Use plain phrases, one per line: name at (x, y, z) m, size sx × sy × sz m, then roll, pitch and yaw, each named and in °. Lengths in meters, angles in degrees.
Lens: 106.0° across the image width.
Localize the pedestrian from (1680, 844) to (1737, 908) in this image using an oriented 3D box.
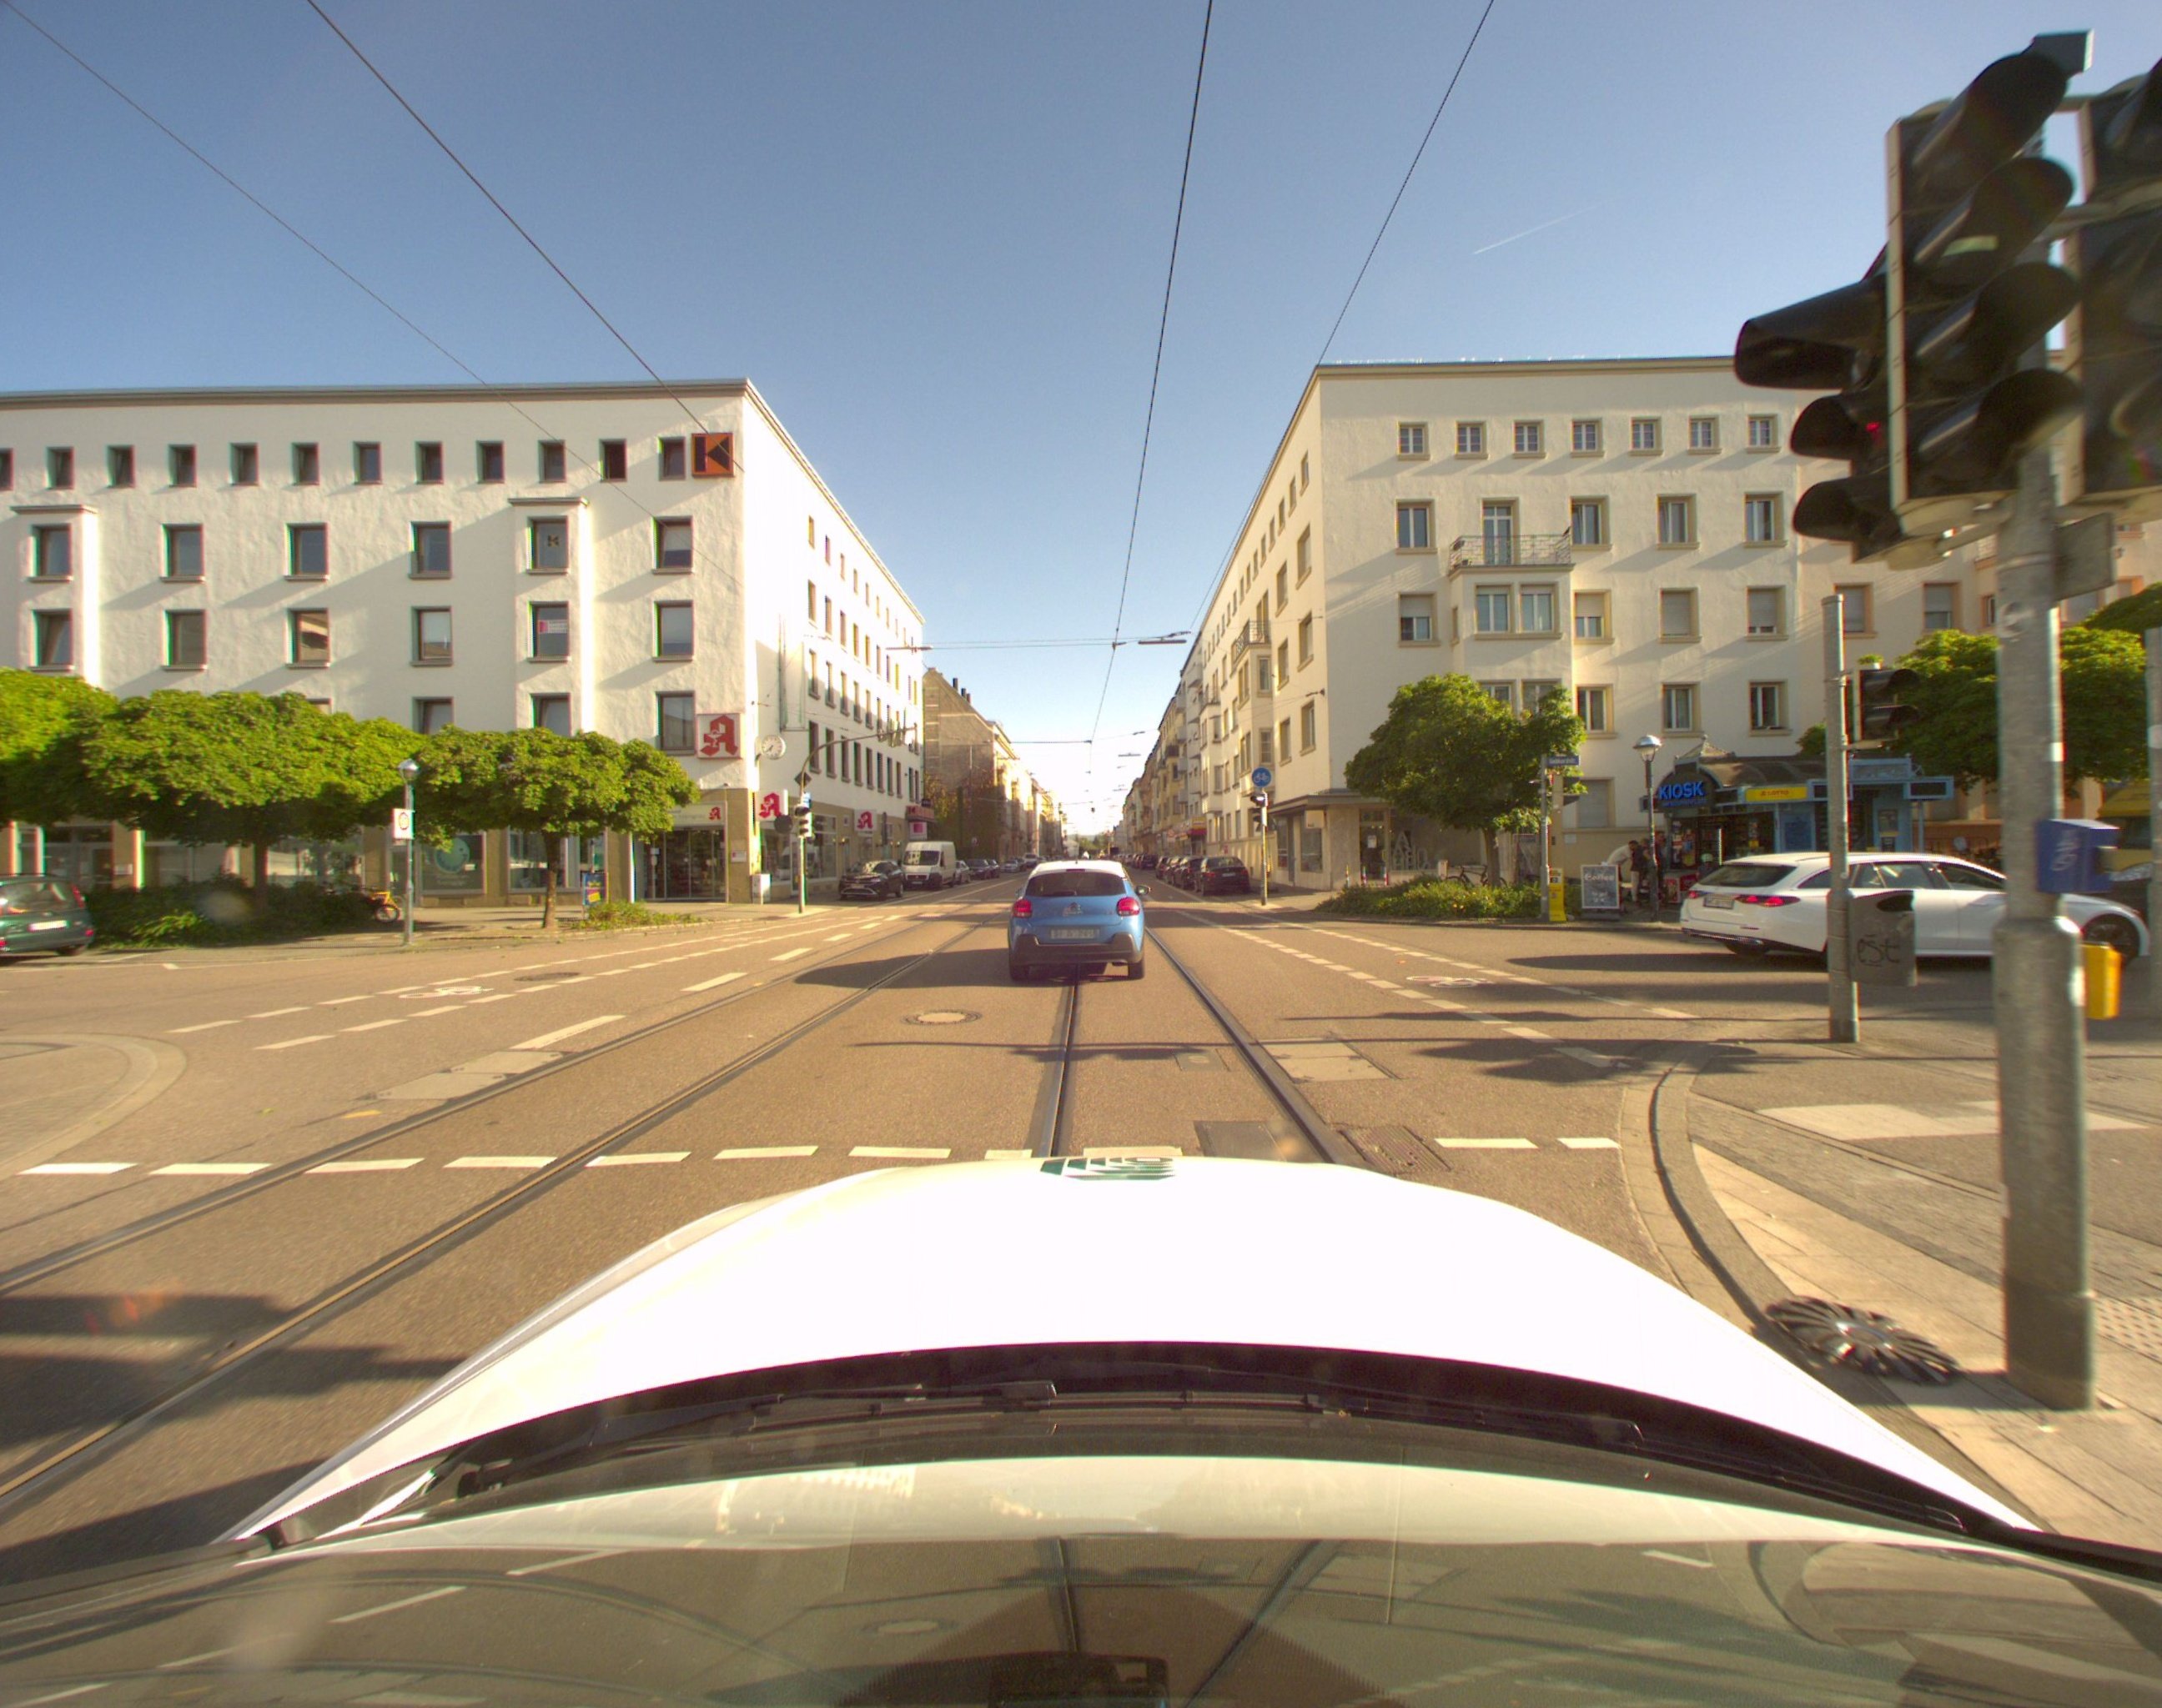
pedestrian at (14.606, 0.504, 18.970) m, size 0.727 × 1.409 × 0.755 m, roll -1°, pitch 3°, yaw 1°

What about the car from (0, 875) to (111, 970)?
car at (-21.897, 1.337, 15.792) m, size 3.973 × 1.706 × 1.826 m, roll -1°, pitch 0°, yaw 1°

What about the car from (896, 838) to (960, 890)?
car at (-7.856, 0.494, 42.518) m, size 2.078 × 2.542 × 6.205 m, roll 0°, pitch 0°, yaw 1°

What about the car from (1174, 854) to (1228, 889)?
car at (5.417, 0.774, 37.225) m, size 1.986 × 1.464 × 4.002 m, roll -1°, pitch 0°, yaw 2°

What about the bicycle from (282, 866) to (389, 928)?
bicycle at (-21.194, 1.176, 23.236) m, size 0.616 × 1.607 × 2.619 m, roll -1°, pitch 0°, yaw 0°

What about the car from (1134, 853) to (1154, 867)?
car at (6.914, 0.678, 89.189) m, size 1.986 × 1.464 × 4.002 m, roll -1°, pitch 0°, yaw 2°

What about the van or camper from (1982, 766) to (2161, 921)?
van or camper at (22.210, -0.292, 15.619) m, size 7.094 × 2.747 × 2.372 m, roll -1°, pitch 1°, yaw 2°

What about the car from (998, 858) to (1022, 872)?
car at (-7.236, 1.111, 83.141) m, size 1.987 × 1.325 × 3.923 m, roll 0°, pitch -1°, yaw 0°

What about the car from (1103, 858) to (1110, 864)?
car at (7.912, 2.082, 253.921) m, size 1.986 × 1.772 × 4.001 m, roll -1°, pitch 0°, yaw 1°

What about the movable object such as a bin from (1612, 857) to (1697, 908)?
movable object such as a bin at (13.721, 0.659, 19.535) m, size 1.194 × 1.153 × 1.218 m, roll -1°, pitch 0°, yaw 2°

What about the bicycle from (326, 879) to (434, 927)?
bicycle at (-19.781, 1.346, 23.072) m, size 0.615 × 1.190 × 2.624 m, roll -1°, pitch 0°, yaw 5°

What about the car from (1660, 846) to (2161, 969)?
car at (10.862, 0.658, 10.929) m, size 4.782 × 1.464 × 1.991 m, roll 0°, pitch 0°, yaw 1°

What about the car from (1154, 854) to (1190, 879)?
car at (5.800, 0.776, 52.397) m, size 1.986 × 1.464 × 4.002 m, roll -1°, pitch 0°, yaw 2°

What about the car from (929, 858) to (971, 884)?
car at (-7.862, 1.031, 49.061) m, size 1.881 × 1.496 × 3.562 m, roll 0°, pitch -1°, yaw 0°

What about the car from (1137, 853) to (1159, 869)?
car at (6.620, 0.705, 81.370) m, size 1.986 × 1.464 × 4.507 m, roll -1°, pitch 0°, yaw 2°

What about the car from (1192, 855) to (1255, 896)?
car at (5.501, 0.786, 31.925) m, size 1.902 × 1.464 × 4.002 m, roll -1°, pitch 0°, yaw 2°

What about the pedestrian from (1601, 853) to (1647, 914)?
pedestrian at (12.181, 0.654, 18.289) m, size 0.733 × 1.316 × 0.631 m, roll -1°, pitch 0°, yaw 25°

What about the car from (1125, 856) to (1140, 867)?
car at (7.101, 1.071, 112.710) m, size 1.986 × 1.464 × 4.002 m, roll -1°, pitch 0°, yaw 2°

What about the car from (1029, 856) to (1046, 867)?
car at (-6.255, 1.034, 117.131) m, size 1.946 × 1.552 × 3.942 m, roll 0°, pitch -1°, yaw 4°

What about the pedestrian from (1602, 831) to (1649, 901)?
pedestrian at (14.545, 0.311, 21.786) m, size 0.781 × 1.839 × 0.679 m, roll -1°, pitch 0°, yaw 4°

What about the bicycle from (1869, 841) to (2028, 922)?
bicycle at (17.066, 0.528, 16.057) m, size 2.376 × 1.531 × 0.726 m, roll 0°, pitch 0°, yaw 0°

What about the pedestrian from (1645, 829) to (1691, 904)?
pedestrian at (14.642, 0.305, 20.335) m, size 0.650 × 1.839 × 0.660 m, roll -1°, pitch 0°, yaw 5°

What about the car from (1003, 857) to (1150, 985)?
car at (0.003, 0.799, 11.509) m, size 1.721 × 1.482 × 3.828 m, roll 0°, pitch 0°, yaw 1°

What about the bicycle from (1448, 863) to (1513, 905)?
bicycle at (10.755, 0.808, 21.948) m, size 1.557 × 1.120 × 0.301 m, roll -1°, pitch -1°, yaw 12°

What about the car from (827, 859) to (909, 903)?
car at (-8.302, 1.017, 32.158) m, size 1.987 × 1.569 × 4.403 m, roll 2°, pitch -1°, yaw 1°

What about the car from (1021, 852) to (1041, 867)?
car at (-6.468, 0.732, 106.449) m, size 1.997 × 2.014 × 4.693 m, roll 0°, pitch -1°, yaw 3°

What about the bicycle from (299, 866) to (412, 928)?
bicycle at (-20.505, 1.169, 23.113) m, size 0.615 × 1.607 × 2.624 m, roll -1°, pitch 0°, yaw 6°

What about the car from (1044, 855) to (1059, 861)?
car at (-5.917, 0.798, 164.603) m, size 1.981 × 1.156 × 4.528 m, roll -1°, pitch 0°, yaw 11°

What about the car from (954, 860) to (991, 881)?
car at (-7.663, 1.163, 57.881) m, size 1.987 × 1.398 × 4.157 m, roll 2°, pitch -1°, yaw 1°

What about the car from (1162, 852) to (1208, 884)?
car at (5.321, 0.702, 42.138) m, size 1.986 × 1.501 × 4.002 m, roll -1°, pitch 0°, yaw 2°
